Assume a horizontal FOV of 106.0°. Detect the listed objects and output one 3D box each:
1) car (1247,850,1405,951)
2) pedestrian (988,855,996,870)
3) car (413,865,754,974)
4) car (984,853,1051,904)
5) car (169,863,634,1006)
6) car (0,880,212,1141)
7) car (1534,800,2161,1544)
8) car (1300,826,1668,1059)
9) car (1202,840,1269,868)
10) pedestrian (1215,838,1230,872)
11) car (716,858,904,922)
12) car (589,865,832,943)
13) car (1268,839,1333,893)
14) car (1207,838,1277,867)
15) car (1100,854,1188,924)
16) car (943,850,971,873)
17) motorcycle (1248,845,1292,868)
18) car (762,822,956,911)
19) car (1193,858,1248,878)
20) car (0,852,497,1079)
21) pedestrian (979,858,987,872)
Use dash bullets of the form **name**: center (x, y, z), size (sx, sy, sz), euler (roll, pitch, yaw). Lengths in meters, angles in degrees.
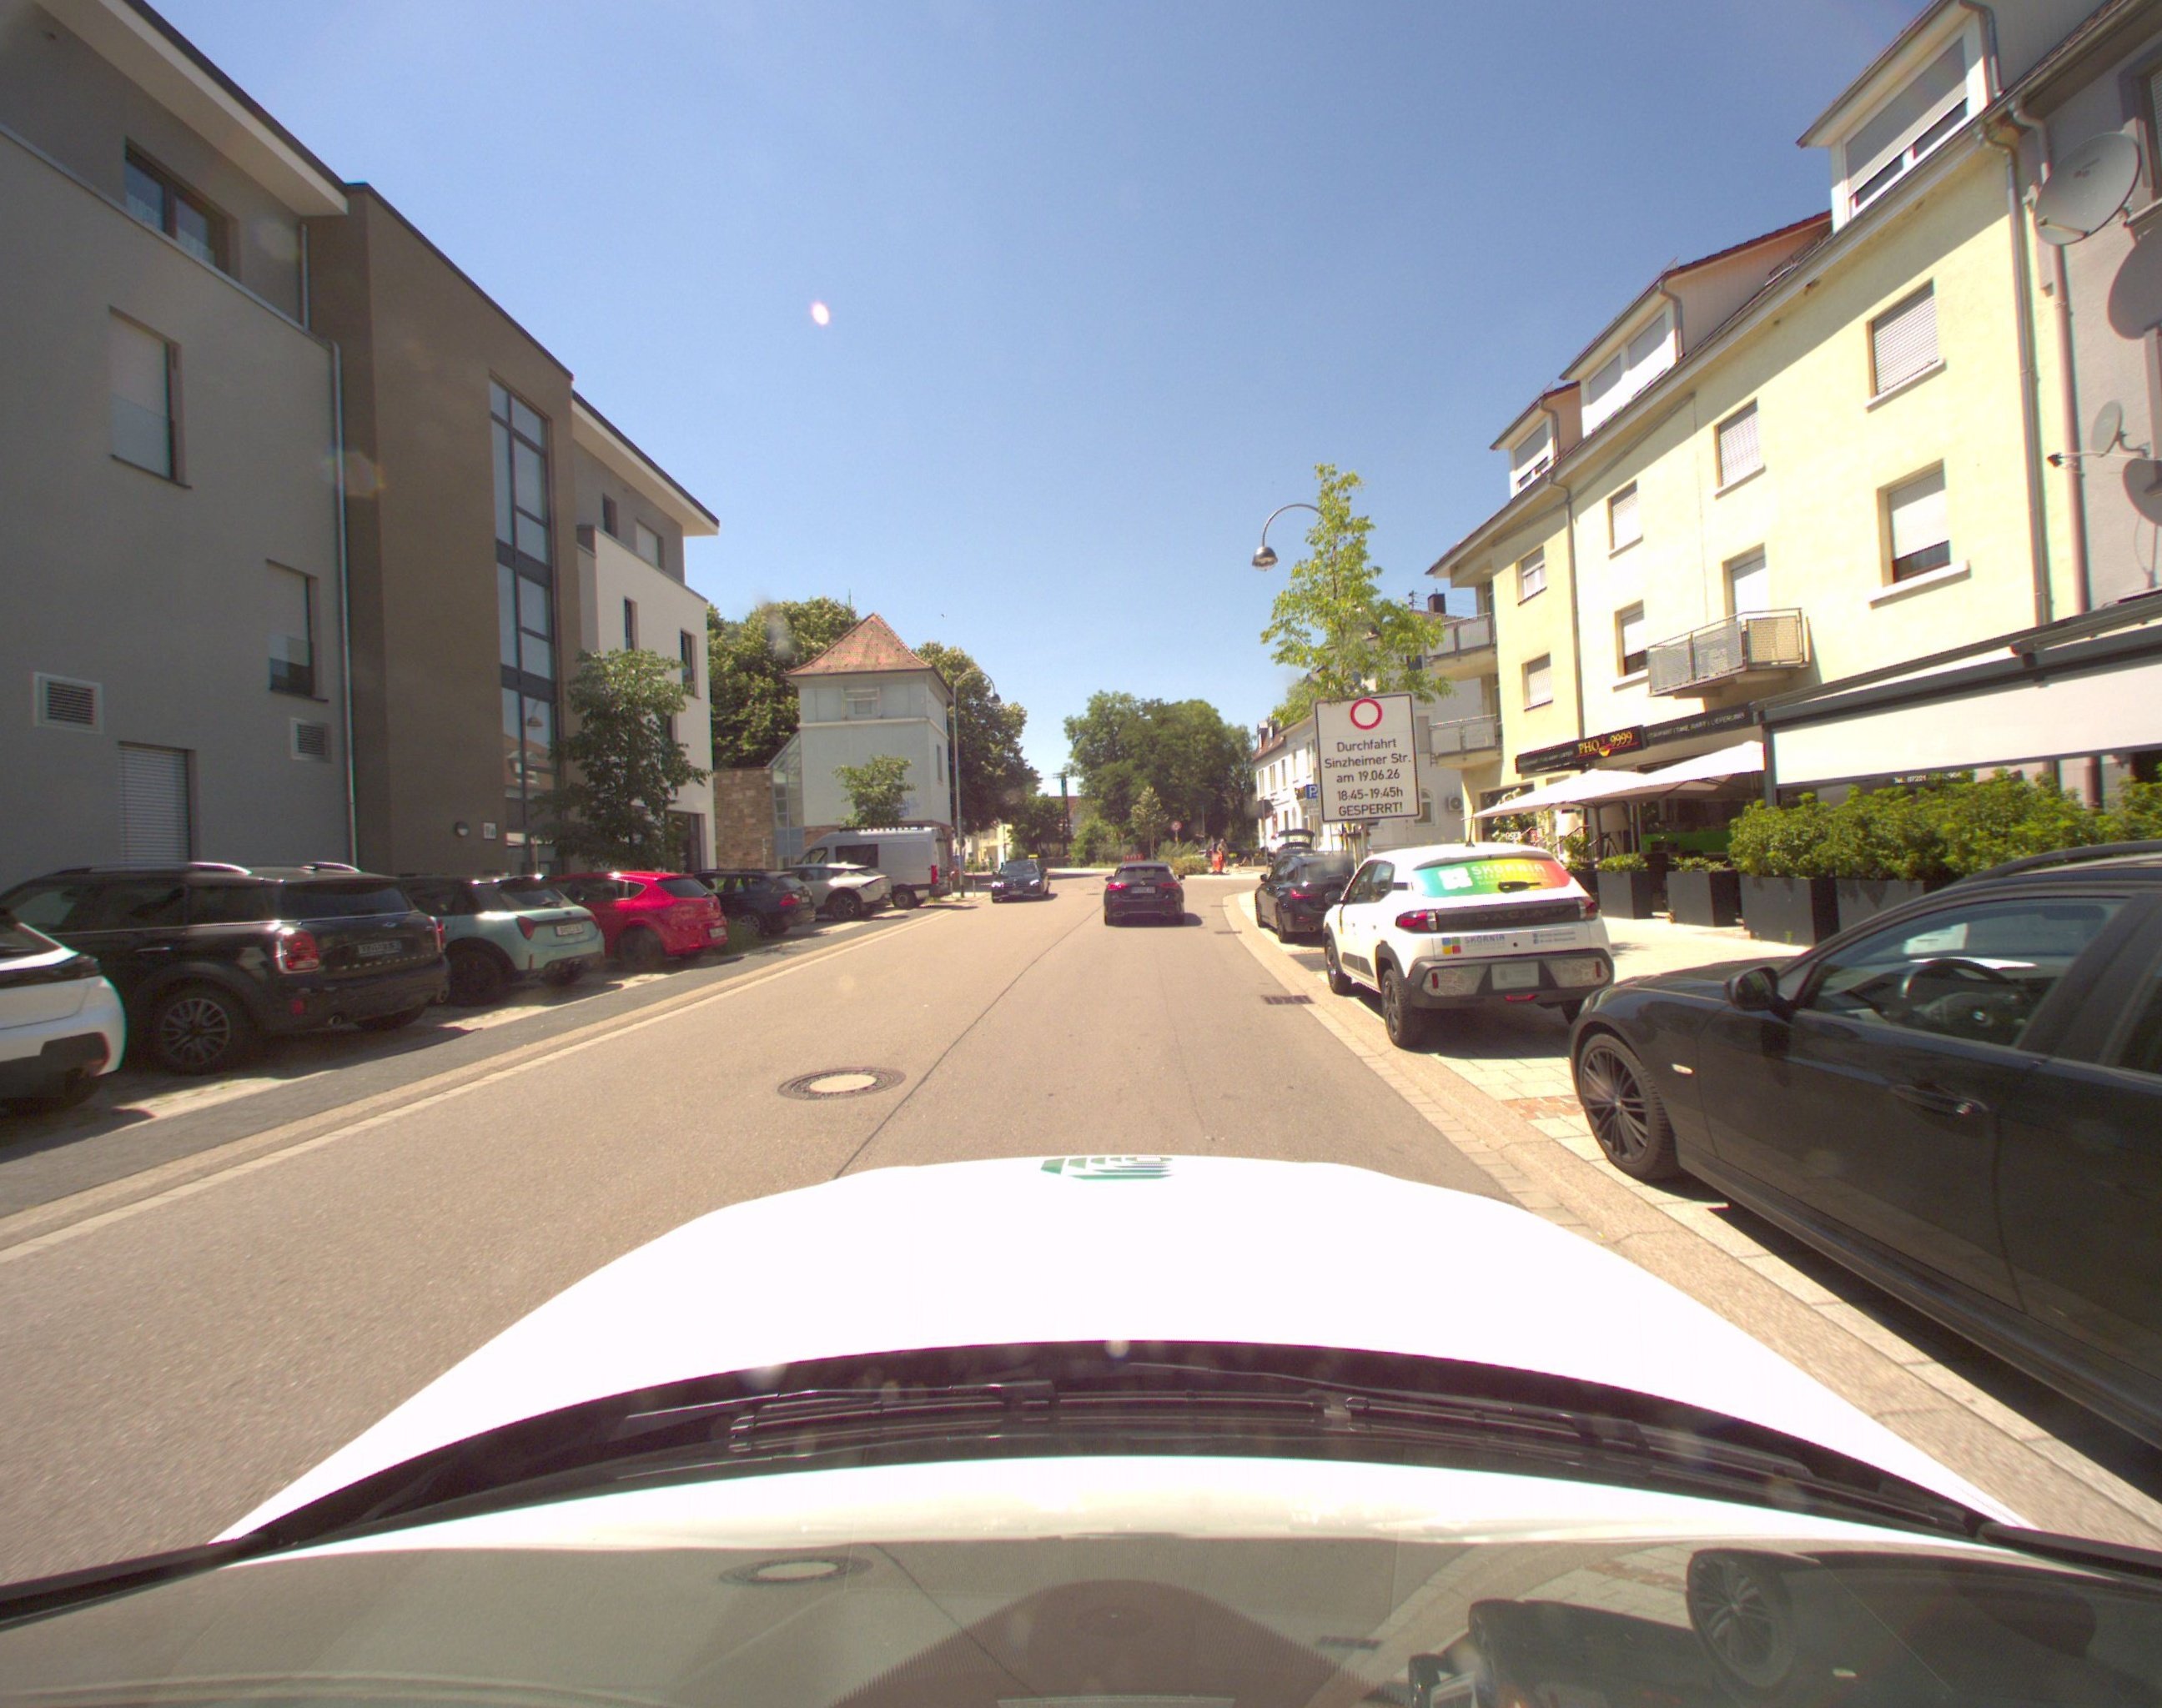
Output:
- **car**: center (4.131, 0.718, 14.476), size (1.716, 1.405, 4.615), euler (-4, -1, 5)
- **pedestrian**: center (-10.537, 1.041, 96.316), size (0.666, 1.741, 0.693), euler (-2, -1, -42)
- **car**: center (-7.516, 0.949, 12.605), size (4.015, 1.430, 2.002), euler (-1, 0, 3)
- **car**: center (-2.246, 0.846, 30.097), size (1.886, 1.553, 4.801), euler (-4, 1, 2)
- **car**: center (-8.020, 0.900, 9.917), size (4.015, 1.497, 2.002), euler (-1, -1, 3)
- **car**: center (-7.966, 0.914, 4.650), size (3.972, 1.421, 1.910), euler (-1, -1, 1)
- **car**: center (3.079, 0.594, 1.998), size (1.824, 1.482, 4.101), euler (-5, -1, 5)
- **car**: center (3.322, 0.640, 7.675), size (1.728, 1.486, 4.061), euler (-5, -1, 6)
- **car**: center (10.208, 0.022, 54.009), size (4.063, 1.716, 1.855), euler (-1, -1, -1)
- **pedestrian**: center (7.670, 0.040, 44.177), size (0.741, 1.796, 0.846), euler (-3, 1, 8)
- **car**: center (-7.310, 0.953, 22.296), size (4.438, 1.591, 2.000), euler (-1, -1, 0)
- **car**: center (-7.594, 0.997, 17.039), size (4.191, 1.437, 1.883), euler (-1, -1, -4)
- **car**: center (7.312, 0.349, 27.249), size (1.858, 1.491, 3.877), euler (-4, 1, 15)
- **car**: center (10.221, -0.071, 51.929), size (4.063, 1.716, 1.855), euler (-1, -1, -1)
- **car**: center (1.560, 0.821, 19.447), size (1.818, 1.442, 4.006), euler (-2, -2, 6)
- **car**: center (-15.158, 0.941, 99.345), size (2.143, 2.541, 4.611), euler (-2, -1, -24)
- **motorcycle**: center (11.200, 0.133, 48.336), size (2.369, 1.275, 0.856), euler (-2, 0, 0)
- **car**: center (-7.279, 0.418, 27.169), size (5.746, 2.732, 2.292), euler (-1, -1, 1)
- **car**: center (11.217, 1.131, 65.259), size (4.220, 1.349, 1.841), euler (-1, 5, -36)
- **car**: center (-7.822, 0.863, 7.102), size (4.015, 1.651, 2.002), euler (-1, -1, 3)
- **pedestrian**: center (-11.667, 1.361, 96.936), size (0.617, 1.612, 0.830), euler (-2, -1, -29)
